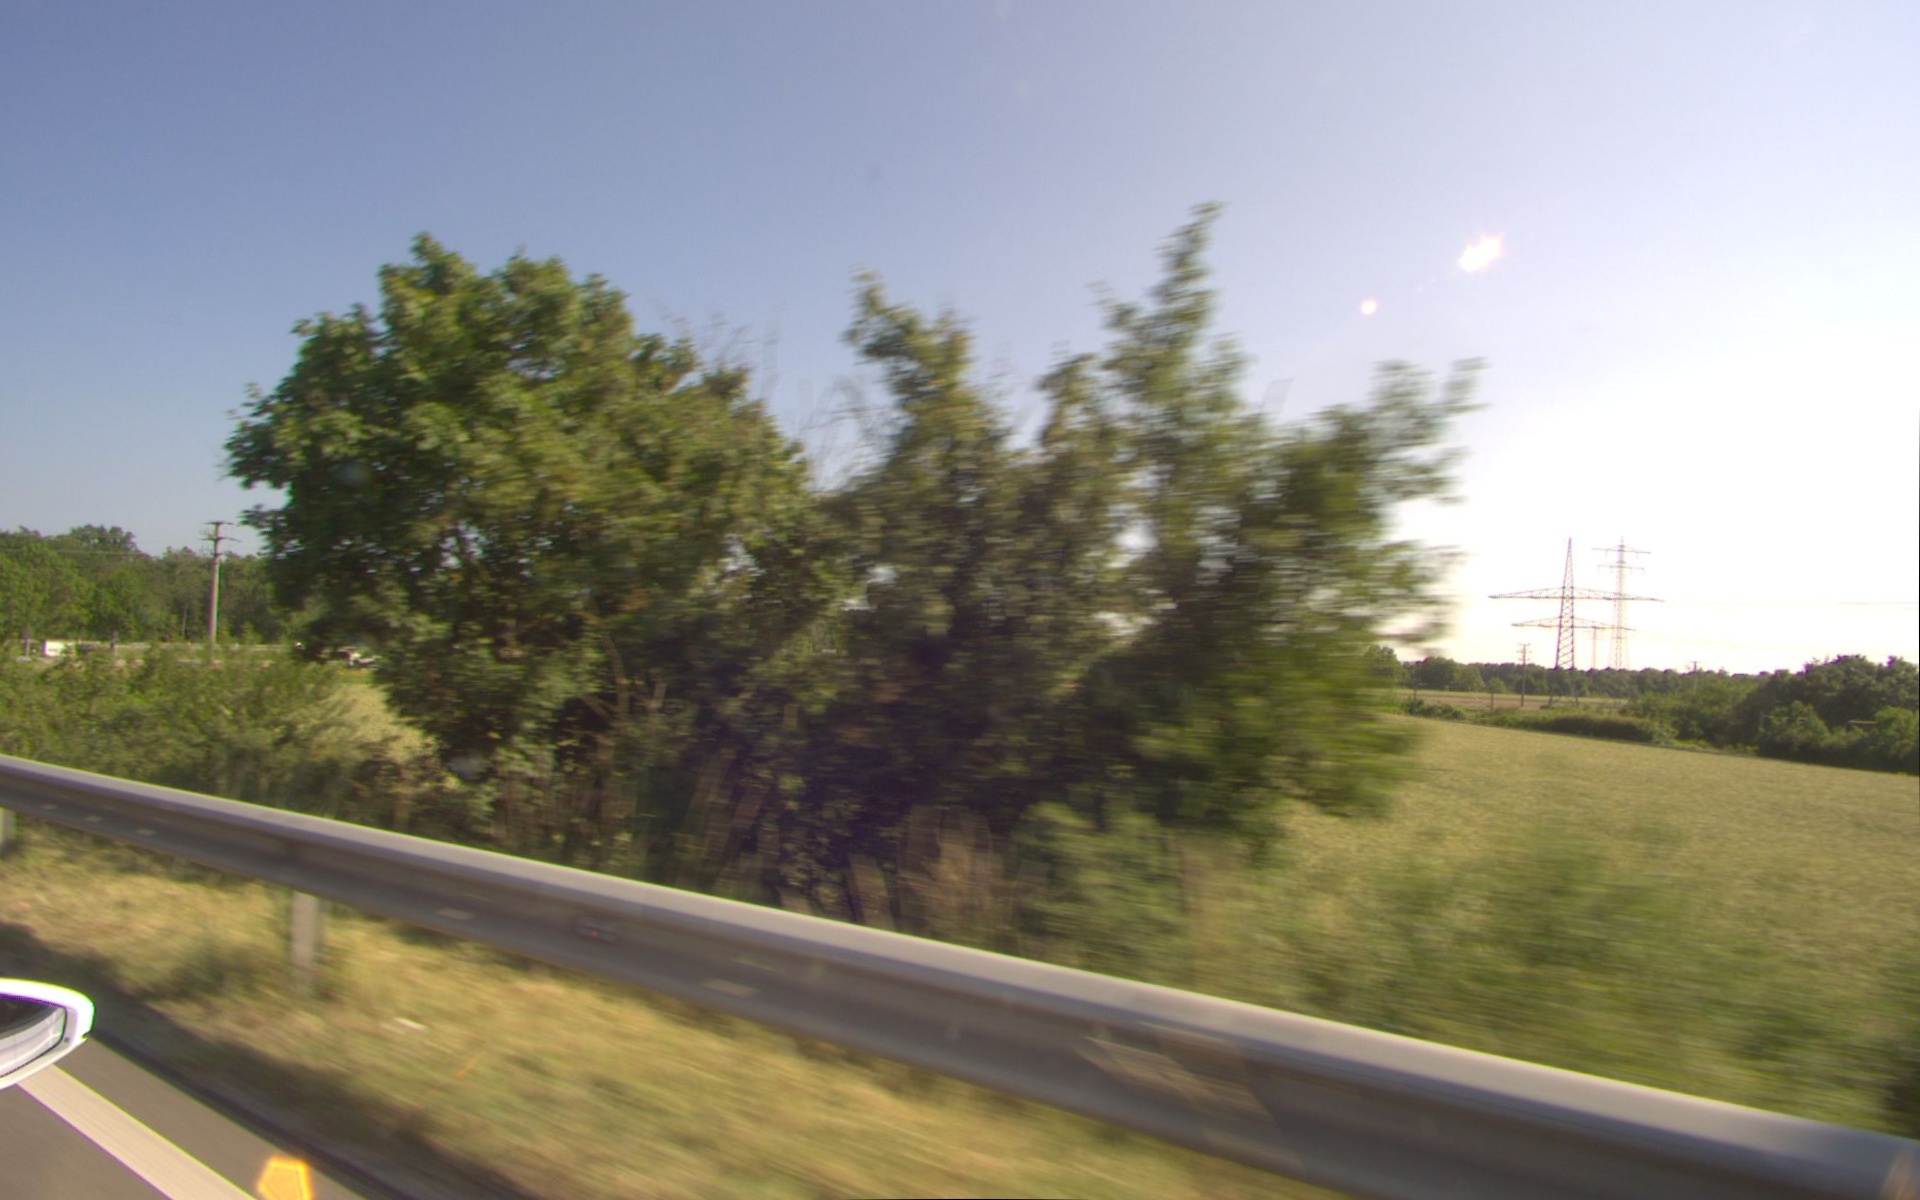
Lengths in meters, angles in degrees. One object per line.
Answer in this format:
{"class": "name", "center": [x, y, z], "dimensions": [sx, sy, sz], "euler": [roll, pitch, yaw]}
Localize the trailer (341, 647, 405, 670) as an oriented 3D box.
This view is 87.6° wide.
{"class": "trailer", "center": [-77.763, 7.778, 132.679], "dimensions": [6.744, 2.703, 2.866], "euler": [6, -4, -43]}
